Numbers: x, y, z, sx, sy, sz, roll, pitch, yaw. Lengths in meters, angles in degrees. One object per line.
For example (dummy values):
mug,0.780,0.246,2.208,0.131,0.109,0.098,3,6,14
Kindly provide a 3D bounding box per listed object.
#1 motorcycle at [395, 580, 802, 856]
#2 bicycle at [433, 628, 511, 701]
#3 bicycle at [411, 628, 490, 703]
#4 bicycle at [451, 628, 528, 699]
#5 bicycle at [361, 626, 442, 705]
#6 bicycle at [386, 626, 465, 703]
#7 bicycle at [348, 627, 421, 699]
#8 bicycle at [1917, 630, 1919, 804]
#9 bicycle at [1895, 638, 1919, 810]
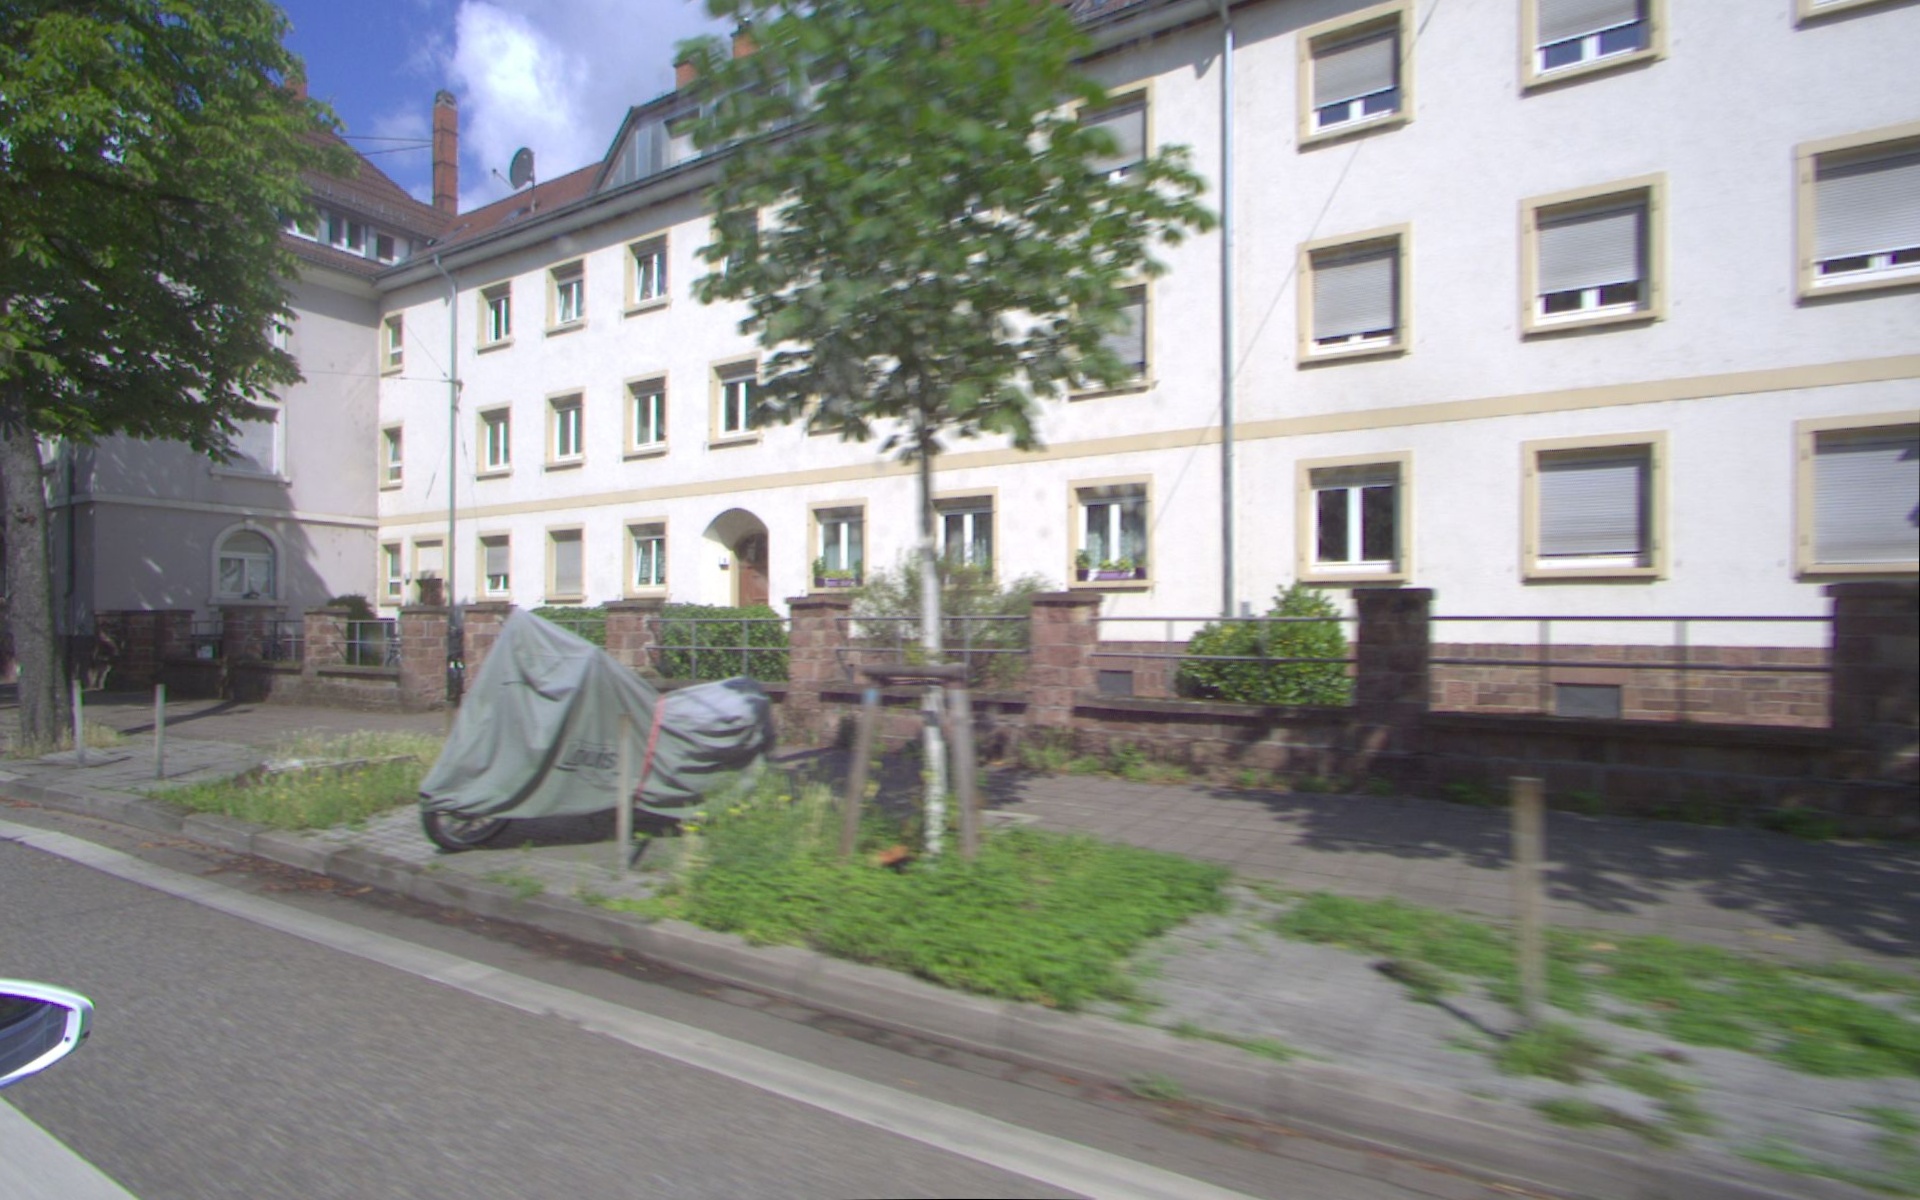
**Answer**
motorcycle,-2.296,0.754,6.602,2.347,1.617,0.677,3,-2,-20
bicycle,-8.554,1.105,17.535,1.680,1.227,0.411,0,-1,33
bicycle,-8.741,1.094,17.162,1.680,1.227,0.411,0,-1,33
bicycle,-8.431,1.116,17.918,1.680,1.227,0.411,0,-1,33
bicycle,-9.159,1.046,16.395,1.680,1.227,0.411,0,-1,33
bicycle,-8.960,1.058,16.766,1.680,1.227,0.411,0,-1,33
bicycle,-10.357,1.111,18.007,1.680,1.227,0.411,0,-1,33
bicycle,7.330,0.809,6.382,1.680,1.227,0.598,0,-1,33
bicycle,7.720,0.891,6.971,1.680,1.227,0.598,0,-1,33
